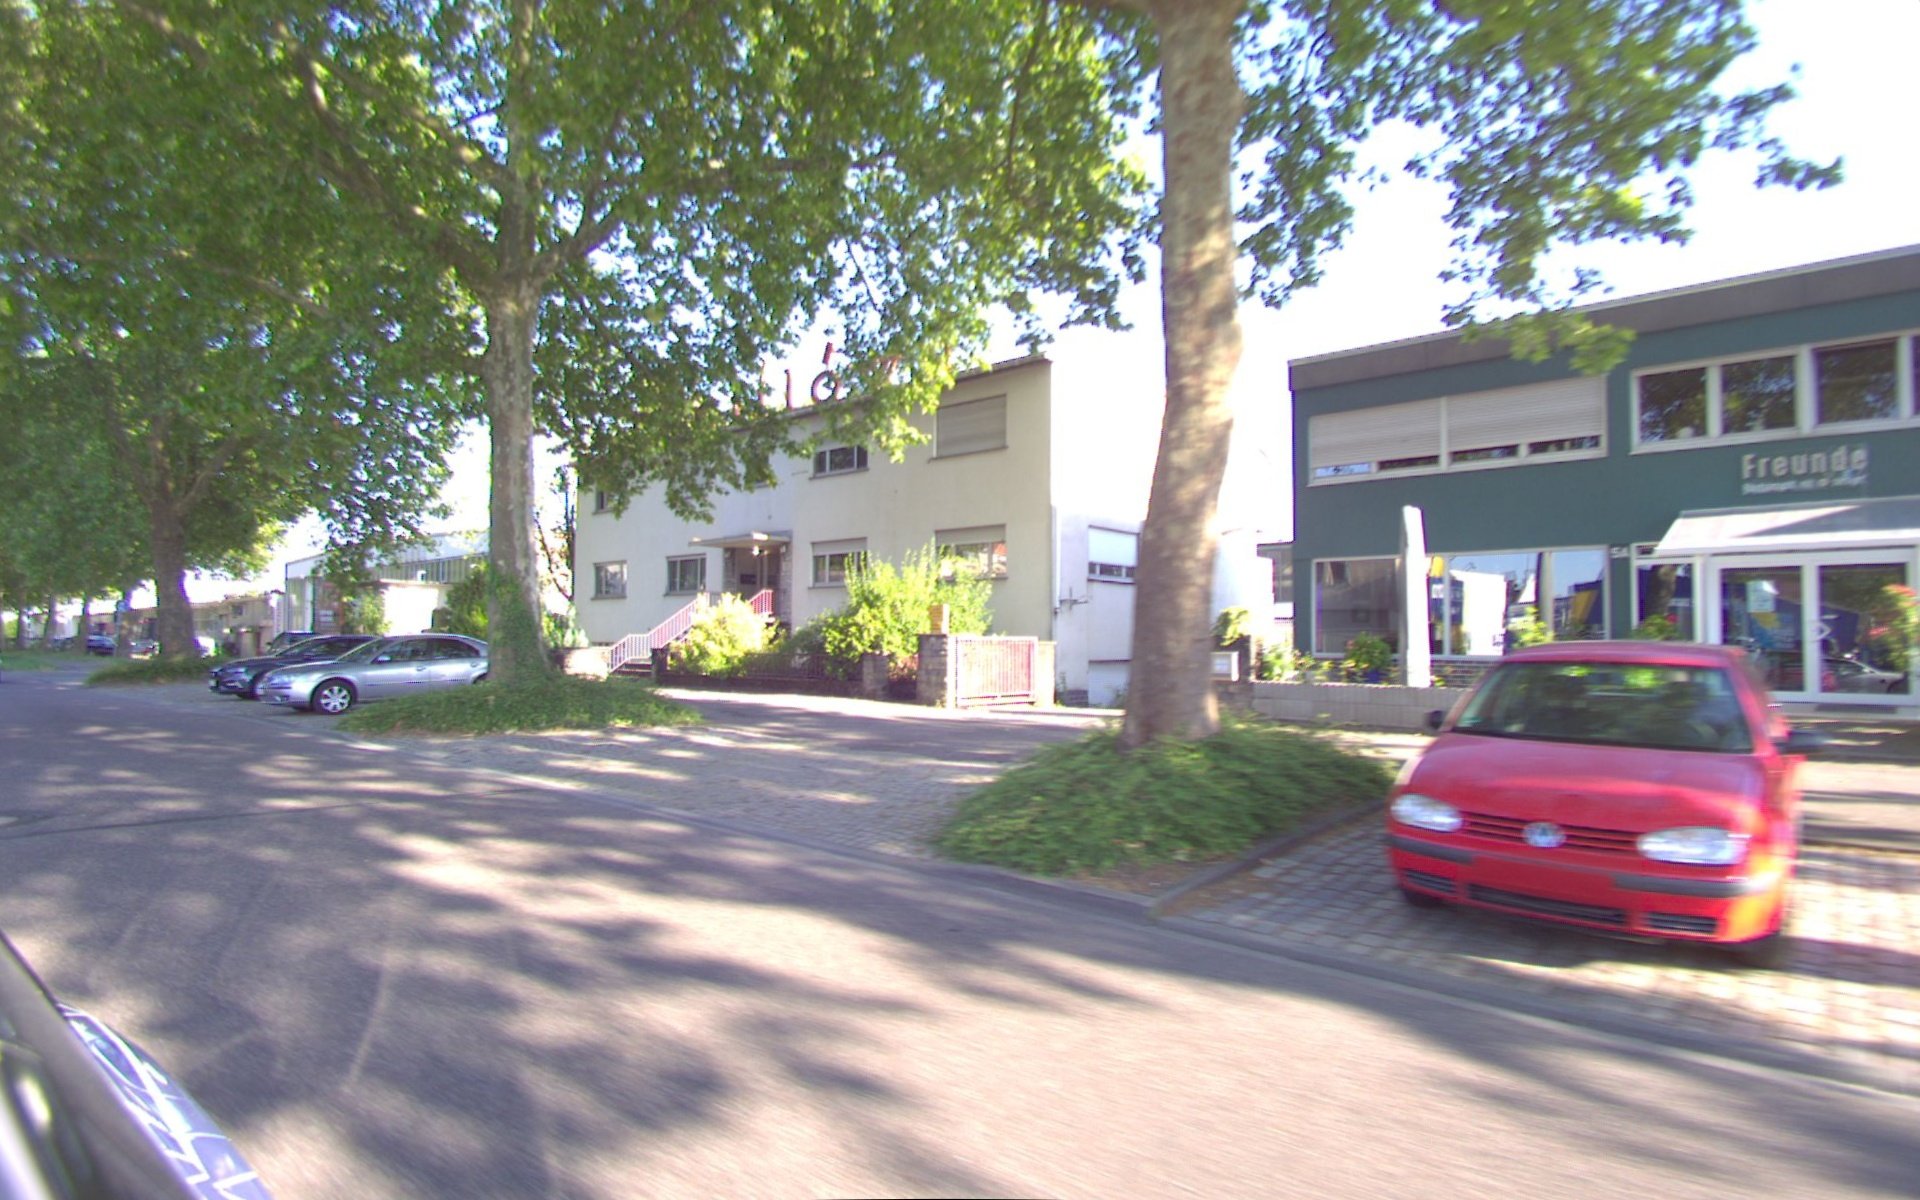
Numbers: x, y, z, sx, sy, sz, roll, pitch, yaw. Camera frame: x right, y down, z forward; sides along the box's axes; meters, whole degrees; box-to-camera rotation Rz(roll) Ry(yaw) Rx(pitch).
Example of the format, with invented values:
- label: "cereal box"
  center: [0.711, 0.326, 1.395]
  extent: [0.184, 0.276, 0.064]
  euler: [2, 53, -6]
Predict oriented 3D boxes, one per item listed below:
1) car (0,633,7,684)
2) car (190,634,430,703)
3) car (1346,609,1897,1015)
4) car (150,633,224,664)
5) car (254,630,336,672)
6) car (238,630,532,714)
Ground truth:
- label: "car"
  center: [-31.883, 1.811, 32.232]
  extent: [3.800, 1.583, 1.819]
  euler: [-1, -4, 41]
- label: "car"
  center: [-15.006, 1.520, 23.569]
  extent: [1.998, 1.433, 4.310]
  euler: [-2, -3, 39]
- label: "car"
  center: [4.066, 0.803, 5.988]
  extent: [1.999, 1.457, 4.251]
  euler: [-1, -1, 41]
- label: "car"
  center: [-39.541, 2.486, 51.728]
  extent: [3.914, 1.380, 1.975]
  euler: [-1, -7, 38]
- label: "car"
  center: [-27.726, 2.070, 42.148]
  extent: [4.273, 1.588, 1.971]
  euler: [-1, -1, 43]
- label: "car"
  center: [-10.960, 1.314, 19.562]
  extent: [1.999, 1.433, 4.552]
  euler: [-3, -3, 41]
